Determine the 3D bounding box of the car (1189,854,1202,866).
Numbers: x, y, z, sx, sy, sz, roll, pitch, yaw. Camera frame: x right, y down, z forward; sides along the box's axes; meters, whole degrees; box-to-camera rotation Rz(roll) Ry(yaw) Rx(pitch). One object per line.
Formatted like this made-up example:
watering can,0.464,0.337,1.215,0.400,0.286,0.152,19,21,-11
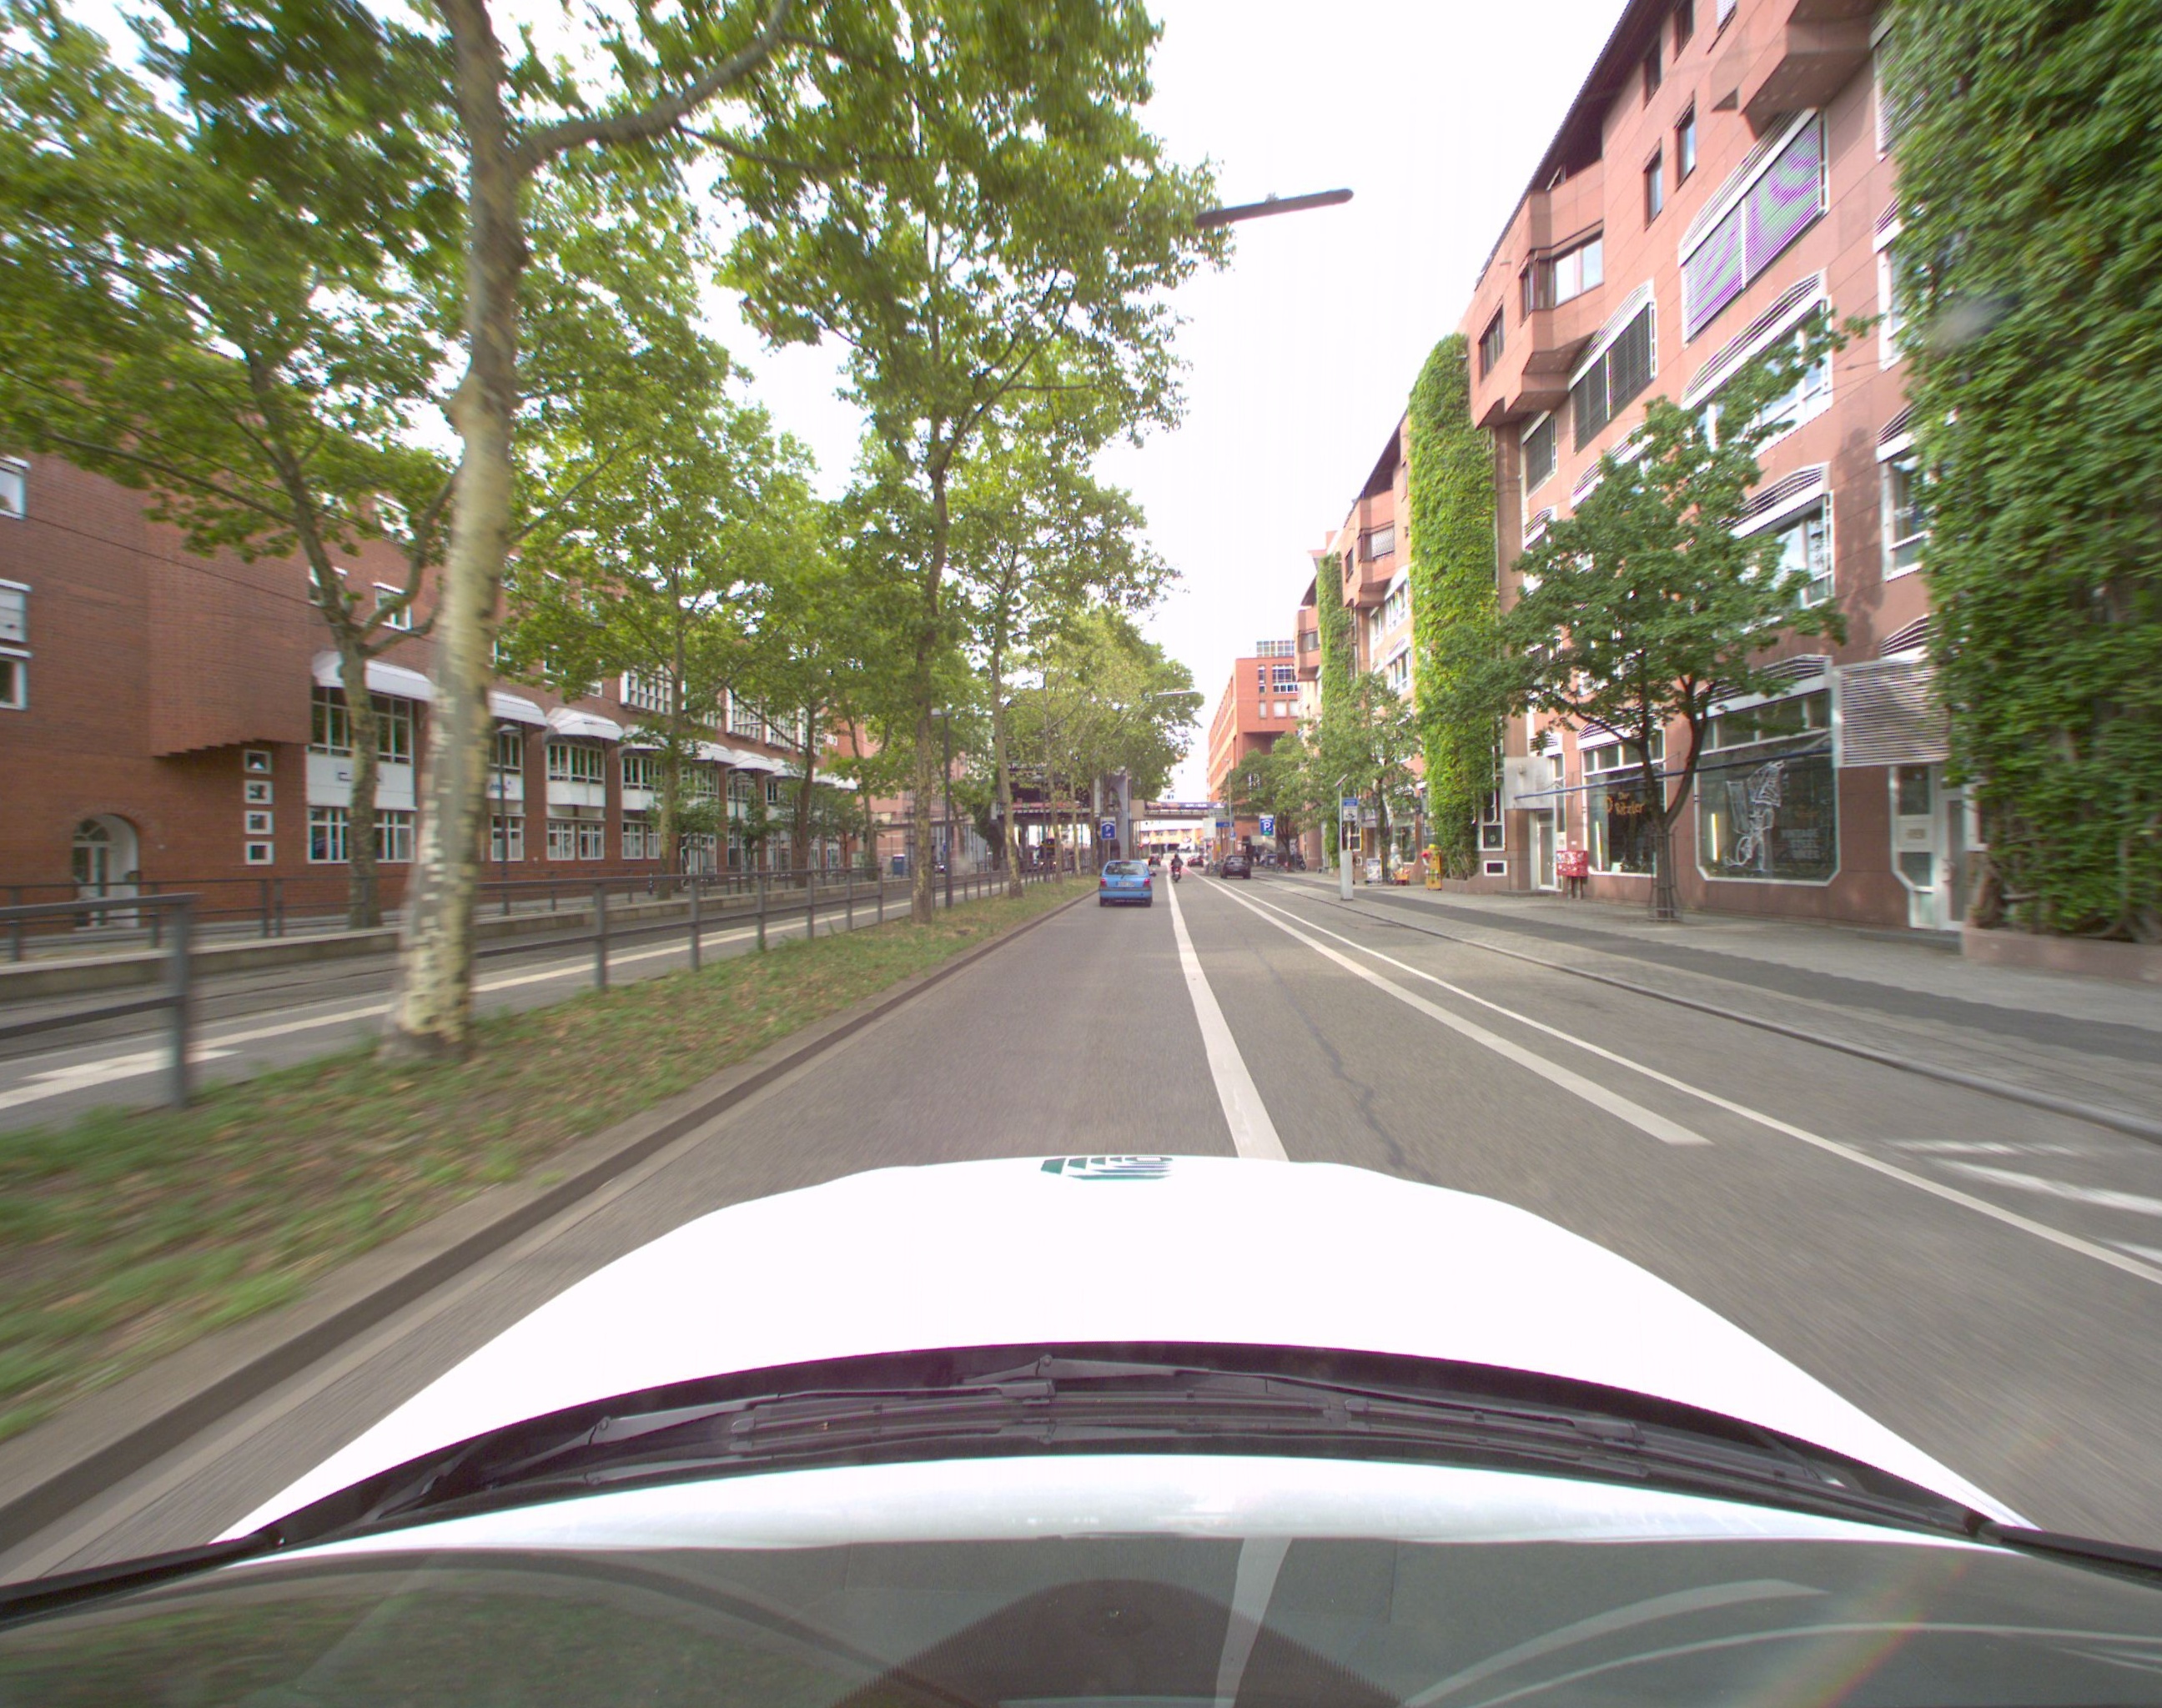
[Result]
car,16.407,0.876,116.856,1.690,1.601,4.008,-1,0,7

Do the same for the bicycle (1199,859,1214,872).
bicycle,10.040,0.947,65.230,0.563,1.008,2.003,-1,0,-9

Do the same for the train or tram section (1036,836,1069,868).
train or tram section,-3.001,-0.233,88.691,2.377,3.253,8.831,-2,0,5

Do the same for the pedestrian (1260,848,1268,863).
pedestrian,19.275,0.167,85.868,0.667,1.561,0.729,-1,0,1

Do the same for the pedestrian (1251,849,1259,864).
pedestrian,18.413,0.290,86.259,0.667,1.561,0.729,-1,0,1

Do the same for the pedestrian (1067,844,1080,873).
pedestrian,-0.500,0.316,53.109,0.724,1.859,0.872,-1,0,6

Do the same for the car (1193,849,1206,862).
car,16.101,0.197,110.947,1.690,1.601,4.008,-1,0,7

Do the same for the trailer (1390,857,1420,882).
trailer,14.143,0.677,35.530,0.982,1.059,1.619,-1,0,30

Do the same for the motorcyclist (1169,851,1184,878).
motorcyclist,5.463,0.589,46.602,0.755,1.519,1.019,-2,0,5

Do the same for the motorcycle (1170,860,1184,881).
motorcycle,5.470,0.912,46.520,0.763,1.107,2.211,-2,0,5

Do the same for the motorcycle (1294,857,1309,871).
motorcycle,18.796,0.813,69.396,0.753,1.136,2.439,-1,0,5

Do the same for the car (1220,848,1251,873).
car,10.238,0.421,54.087,1.690,1.601,4.008,-1,0,7

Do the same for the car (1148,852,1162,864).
car,10.664,0.548,117.196,1.876,1.624,4.008,-1,0,7

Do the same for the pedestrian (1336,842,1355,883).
pedestrian,12.141,0.388,37.407,0.643,1.858,0.784,-1,0,4

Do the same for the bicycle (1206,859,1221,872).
bicycle,10.641,0.942,65.626,0.563,1.008,2.003,-1,0,-9

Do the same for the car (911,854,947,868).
car,-18.468,0.890,99.109,3.972,1.624,1.806,-1,0,2

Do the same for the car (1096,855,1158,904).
car,1.521,0.746,25.712,1.631,1.386,3.852,-1,0,8
